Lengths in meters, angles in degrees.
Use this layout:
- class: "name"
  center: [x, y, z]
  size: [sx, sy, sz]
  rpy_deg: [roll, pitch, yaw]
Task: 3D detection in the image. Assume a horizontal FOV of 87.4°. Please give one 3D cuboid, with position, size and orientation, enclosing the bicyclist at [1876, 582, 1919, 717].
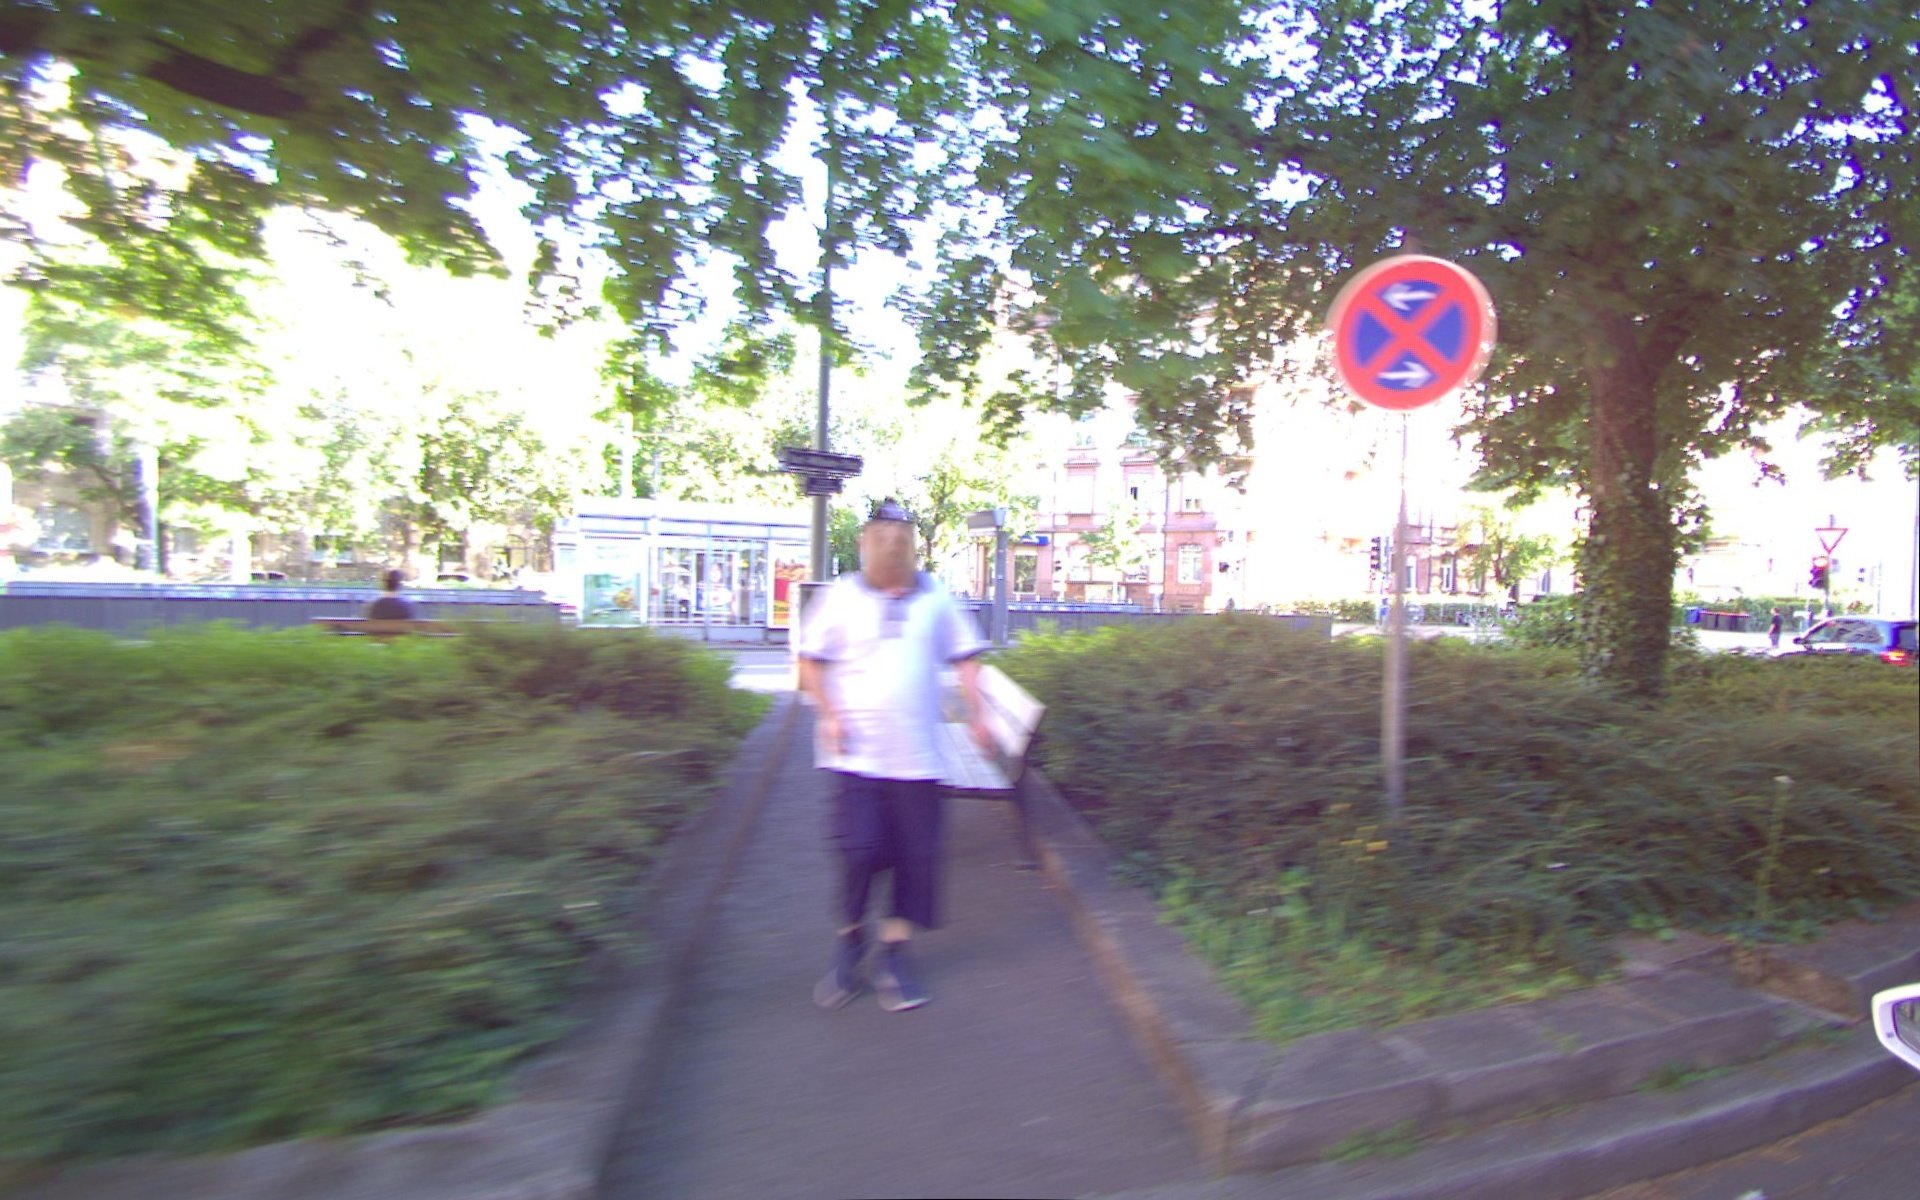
- class: "bicyclist"
  center: [14.214, 0.707, 14.644]
  size: [0.836, 1.924, 1.140]
  rpy_deg: [1, 1, 18]

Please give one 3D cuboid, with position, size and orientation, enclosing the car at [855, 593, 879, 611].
- class: "car"
  center: [-8.728, 0.171, 94.371]
  size: [1.731, 1.629, 4.001]
  rpy_deg: [1, 1, 2]

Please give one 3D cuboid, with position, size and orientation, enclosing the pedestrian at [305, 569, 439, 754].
- class: "pedestrian"
  center: [-5.776, 0.562, 9.879]
  size: [0.883, 1.706, 0.817]
  rpy_deg: [2, 1, 31]

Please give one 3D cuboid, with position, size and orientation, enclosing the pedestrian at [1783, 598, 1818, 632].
- class: "pedestrian"
  center: [51.903, 0.922, 62.040]
  size: [1.370, 1.988, 1.153]
  rpy_deg: [1, 1, -27]

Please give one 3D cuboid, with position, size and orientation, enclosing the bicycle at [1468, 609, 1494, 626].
- class: "bicycle"
  center: [27.656, 0.919, 53.321]
  size: [1.201, 0.873, 0.450]
  rpy_deg: [1, 1, -8]

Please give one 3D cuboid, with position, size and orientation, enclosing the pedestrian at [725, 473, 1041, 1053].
- class: "pedestrian"
  center: [-0.211, 0.474, 3.397]
  size: [0.900, 1.706, 0.780]
  rpy_deg: [1, 1, 7]

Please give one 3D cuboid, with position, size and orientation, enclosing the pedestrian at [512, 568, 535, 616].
- class: "pedestrian"
  center: [-15.961, -0.300, 36.744]
  size: [0.695, 1.717, 0.667]
  rpy_deg: [3, 1, -25]

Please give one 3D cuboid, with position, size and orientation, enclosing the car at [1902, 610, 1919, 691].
- class: "car"
  center: [19.376, 1.033, 18.104]
  size: [1.860, 1.599, 4.001]
  rpy_deg: [2, 1, 17]

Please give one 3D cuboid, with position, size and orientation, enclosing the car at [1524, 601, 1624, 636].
- class: "car"
  center: [29.501, 0.868, 48.260]
  size: [4.311, 1.517, 1.989]
  rpy_deg: [-1, 2, -23]

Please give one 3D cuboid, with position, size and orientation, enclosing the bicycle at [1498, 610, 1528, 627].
- class: "bicycle"
  center: [29.880, 1.016, 54.279]
  size: [1.420, 0.873, 0.450]
  rpy_deg: [1, 1, -8]

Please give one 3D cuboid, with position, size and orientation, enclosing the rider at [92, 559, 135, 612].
- class: "rider"
  center: [-28.155, -0.481, 33.408]
  size: [0.805, 1.704, 0.671]
  rpy_deg: [3, 1, 7]

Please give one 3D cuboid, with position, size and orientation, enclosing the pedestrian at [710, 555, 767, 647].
- class: "pedestrian"
  center: [-4.821, 0.020, 21.791]
  size: [1.006, 1.923, 0.906]
  rpy_deg: [1, 1, -25]

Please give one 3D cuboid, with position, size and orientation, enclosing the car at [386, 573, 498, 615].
- class: "car"
  center: [-22.630, -0.255, 43.971]
  size: [1.927, 1.702, 3.926]
  rpy_deg: [2, 1, 43]

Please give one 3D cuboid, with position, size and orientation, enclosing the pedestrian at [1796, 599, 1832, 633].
- class: "pedestrian"
  center: [51.680, 0.956, 60.789]
  size: [1.370, 1.988, 1.153]
  rpy_deg: [1, 1, -27]

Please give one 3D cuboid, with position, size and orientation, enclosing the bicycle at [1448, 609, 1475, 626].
- class: "bicycle"
  center: [26.495, 0.927, 53.076]
  size: [1.201, 0.873, 0.450]
  rpy_deg: [1, 1, -8]

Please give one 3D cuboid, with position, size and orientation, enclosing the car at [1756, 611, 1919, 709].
- class: "car"
  center: [16.380, 0.995, 18.047]
  size: [1.782, 1.564, 3.960]
  rpy_deg: [0, 0, 14]

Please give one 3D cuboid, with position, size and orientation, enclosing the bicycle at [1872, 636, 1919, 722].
- class: "bicycle"
  center: [14.204, 1.170, 14.640]
  size: [0.588, 1.177, 2.041]
  rpy_deg: [2, 1, 20]
